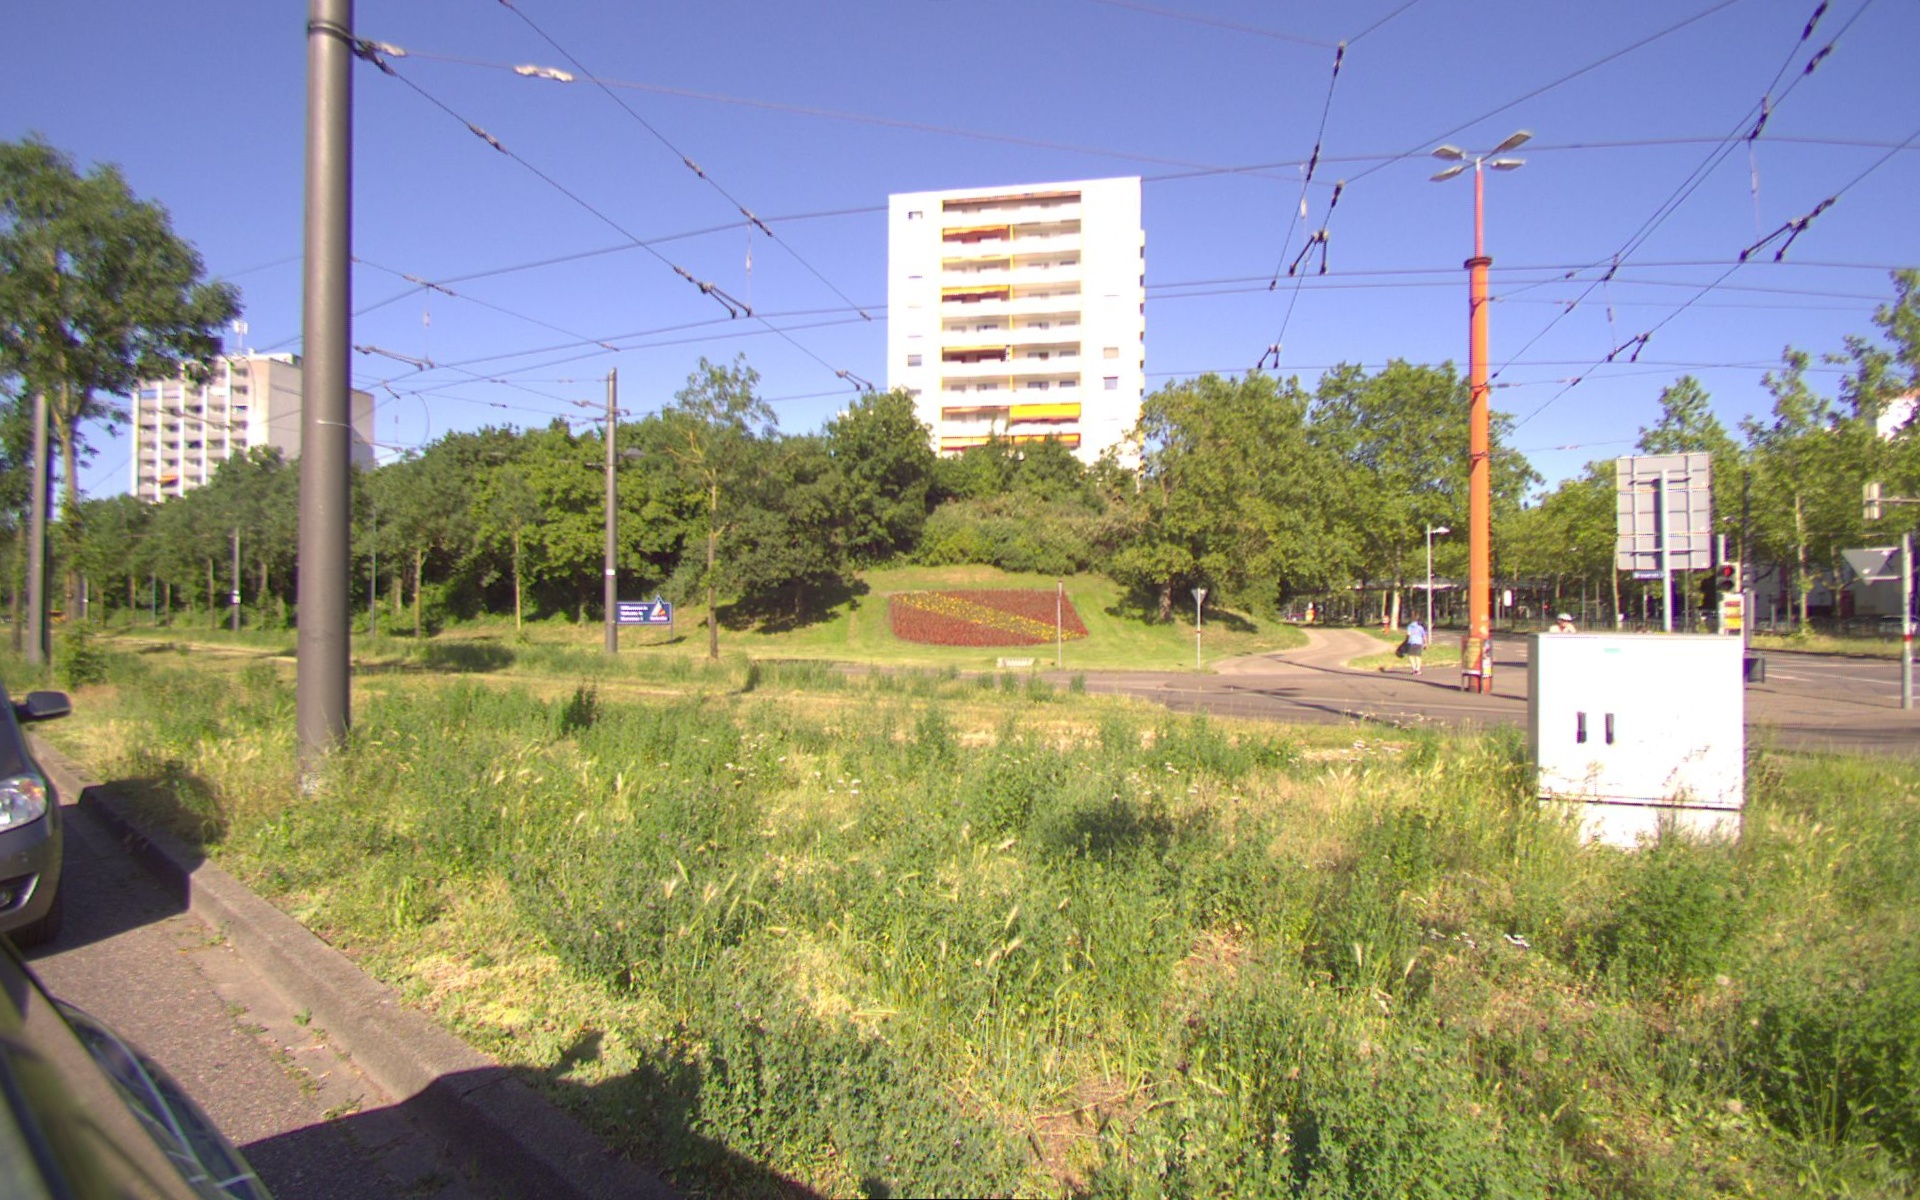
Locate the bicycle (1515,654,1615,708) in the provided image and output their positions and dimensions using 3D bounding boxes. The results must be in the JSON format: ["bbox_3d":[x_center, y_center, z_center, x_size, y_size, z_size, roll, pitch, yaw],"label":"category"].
[{"bbox_3d":[12.077,1.603,20.248,0.673,0.968,1.650,0,-1,-20],"label":"bicycle"}]

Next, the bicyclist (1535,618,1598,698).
[{"bbox_3d":[12.106,1.137,20.209,0.719,1.557,0.770,0,-2,-20],"label":"bicyclist"}]

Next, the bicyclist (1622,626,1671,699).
[{"bbox_3d":[13.365,1.197,19.717,0.435,1.391,0.631,0,-2,-20],"label":"bicyclist"}]

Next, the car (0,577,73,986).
[{"bbox_3d":[-5.734,0.748,4.842,3.879,1.634,1.737,-1,-2,41],"label":"car"}]

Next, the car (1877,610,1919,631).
[{"bbox_3d":[64.888,1.406,68.401,1.770,1.420,4.010,1,-1,-36],"label":"car"}]

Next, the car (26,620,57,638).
[{"bbox_3d":[-101.924,3.199,112.305,4.904,1.981,1.973,-1,-2,41],"label":"car"}]

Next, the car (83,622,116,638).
[{"bbox_3d":[-87.199,3.018,102.491,4.105,1.586,1.972,-1,-2,42],"label":"car"}]

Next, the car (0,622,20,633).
[{"bbox_3d":[-118.125,3.417,125.670,4.000,1.386,1.756,-1,-2,43],"label":"car"}]

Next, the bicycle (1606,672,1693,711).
[{"bbox_3d":[13.377,1.764,19.679,0.427,0.665,1.426,0,-1,-18],"label":"bicycle"}]

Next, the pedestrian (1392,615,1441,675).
[{"bbox_3d":[14.132,1.387,31.327,0.939,1.807,0.991,0,-1,-15],"label":"pedestrian"}]

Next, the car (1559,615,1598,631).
[{"bbox_3d":[79.729,3.005,130.484,3.969,2.029,1.987,-1,-1,20],"label":"car"}]

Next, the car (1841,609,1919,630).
[{"bbox_3d":[65.876,1.384,72.383,1.770,1.420,4.010,1,-1,-36],"label":"car"}]
